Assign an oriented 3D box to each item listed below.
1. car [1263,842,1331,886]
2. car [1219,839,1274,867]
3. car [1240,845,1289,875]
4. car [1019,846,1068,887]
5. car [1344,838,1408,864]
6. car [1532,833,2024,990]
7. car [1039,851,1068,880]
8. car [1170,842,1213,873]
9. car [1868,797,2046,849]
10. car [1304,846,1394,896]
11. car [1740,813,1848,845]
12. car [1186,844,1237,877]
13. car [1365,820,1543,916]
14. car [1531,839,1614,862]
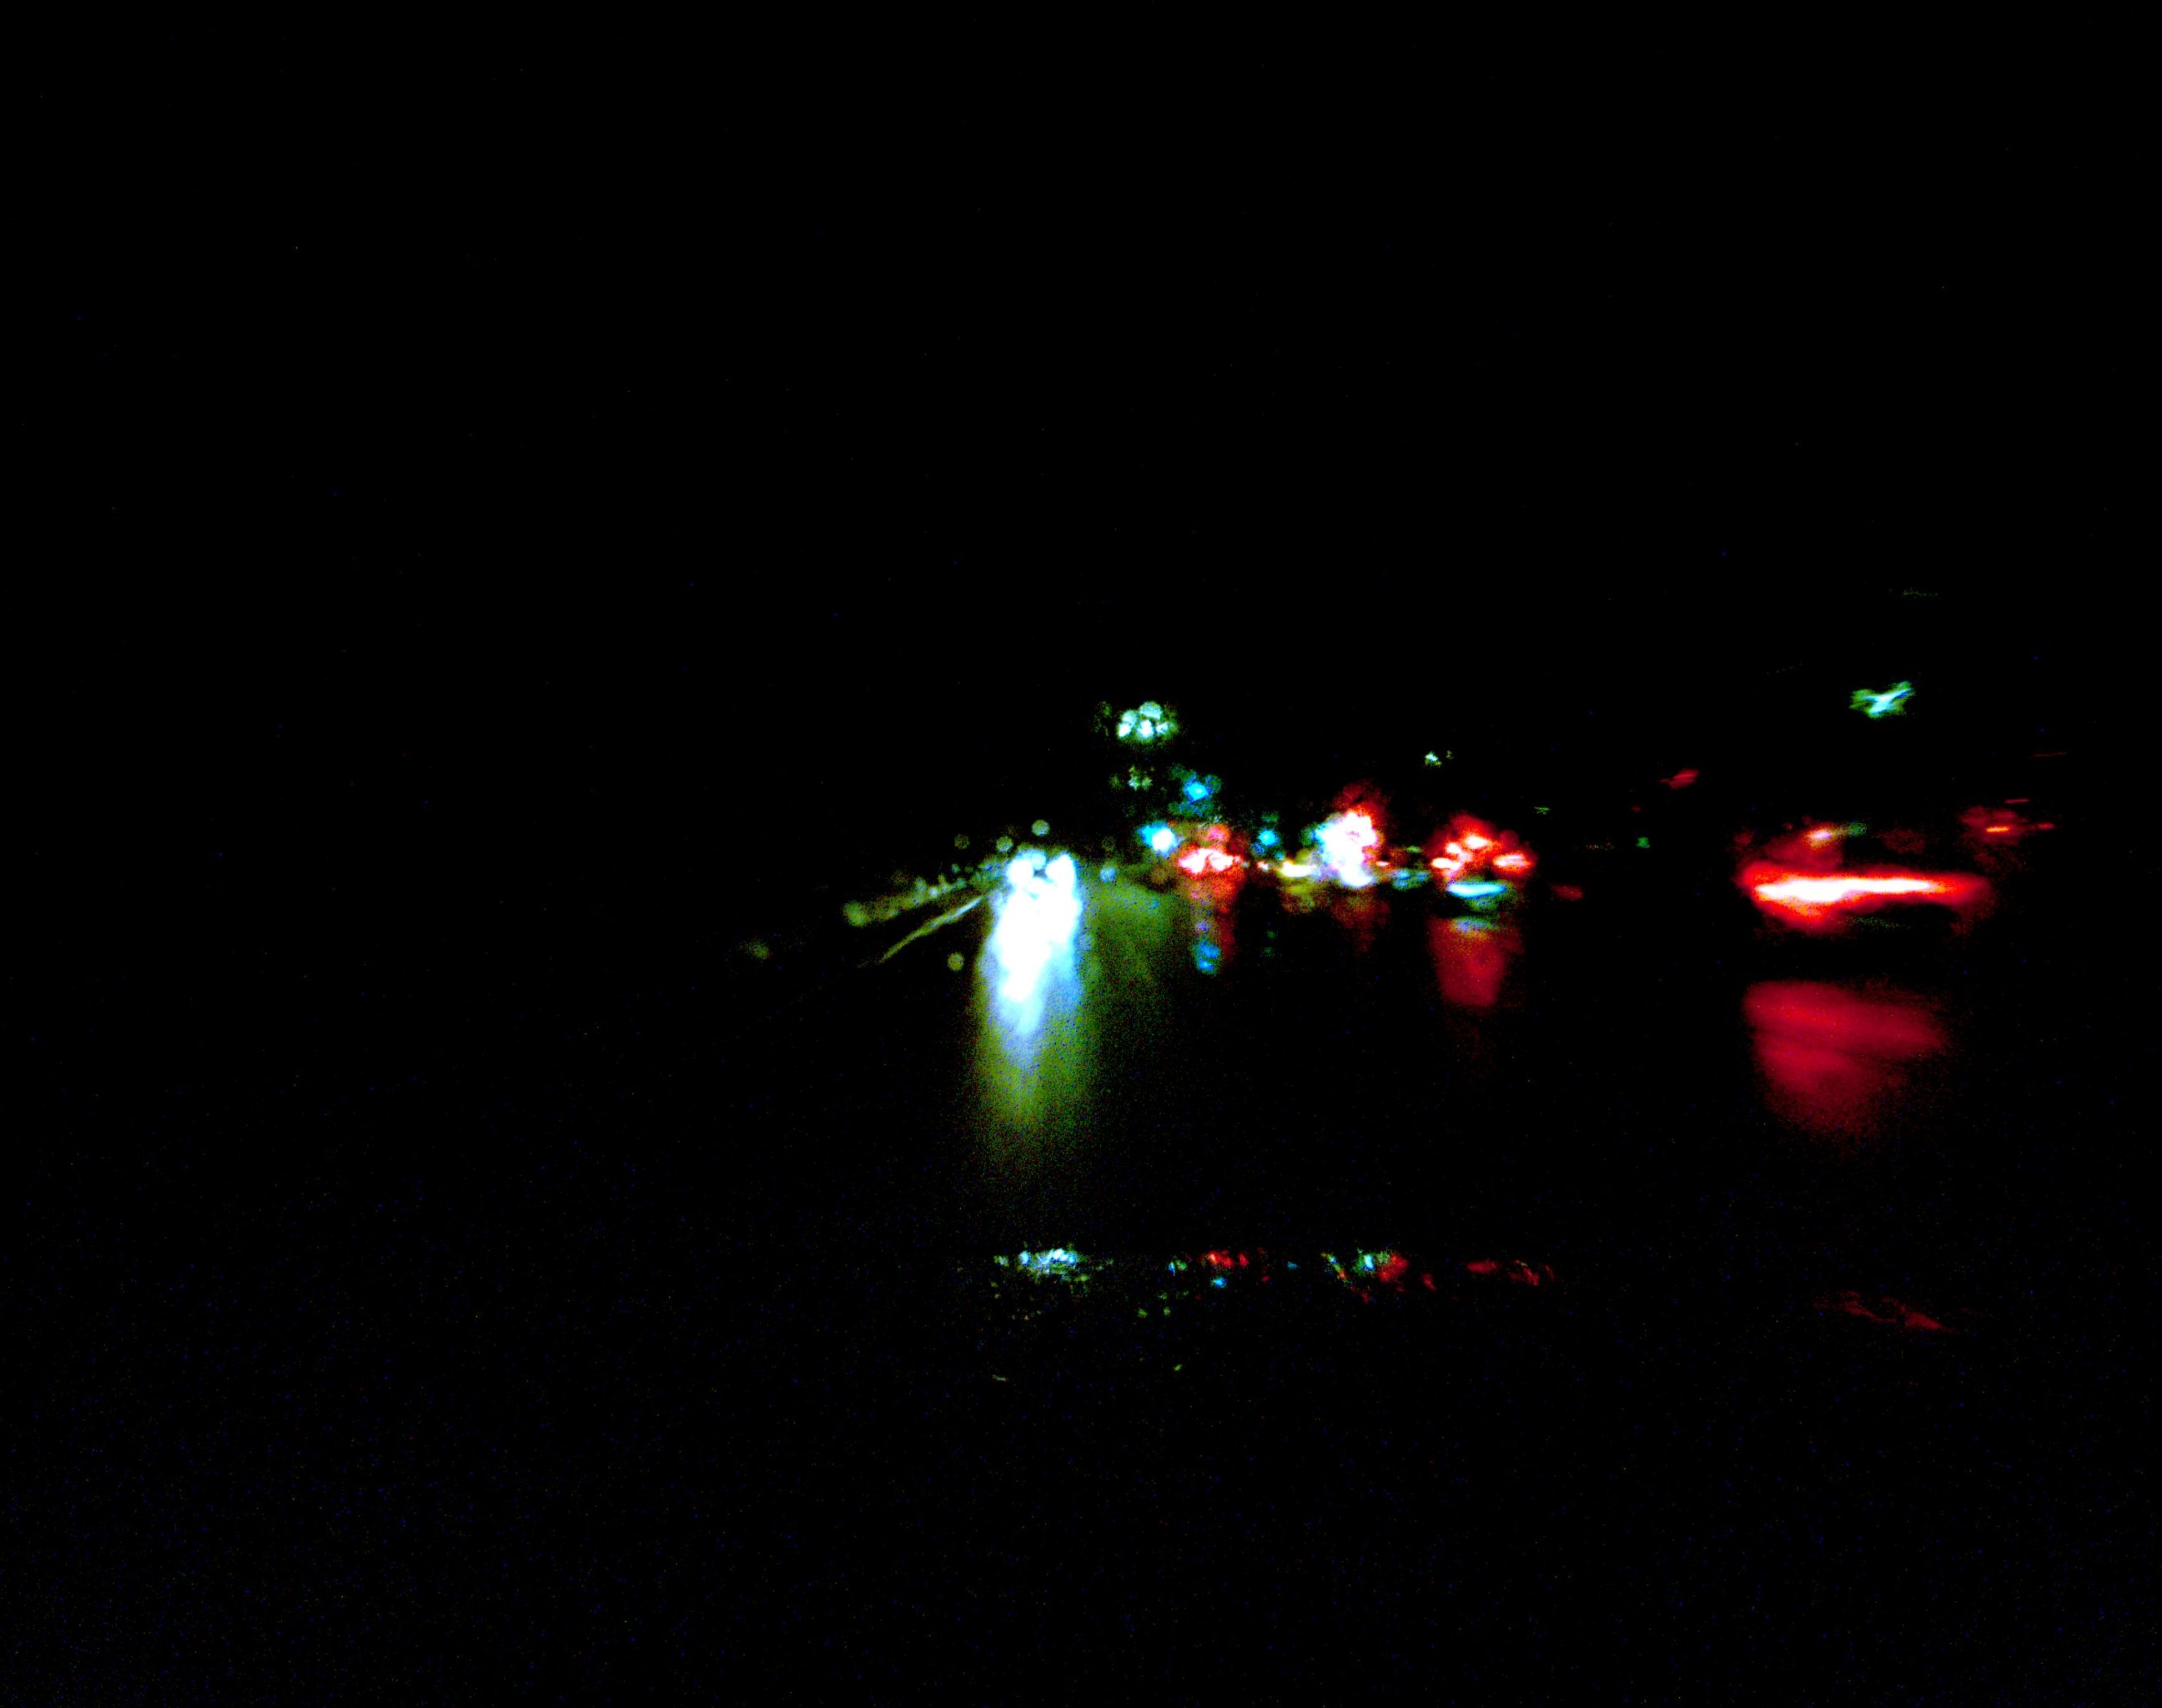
[{"bbox_3d":[9.574,0.391,34.048,1.998,1.736,4.499,-2,1,4],"label":"car"},{"bbox_3d":[10.227,-0.059,47.285,2.364,1.547,5.159,-2,1,1],"label":"car"},{"bbox_3d":[9.758,0.281,40.621,1.827,1.444,3.601,-3,1,2],"label":"car"},{"bbox_3d":[-1.618,0.485,34.166,1.878,1.579,4.887,-3,1,0],"label":"car"},{"bbox_3d":[22.755,-0.223,58.755,4.514,1.833,2.003,-1,0,19],"label":"car"},{"bbox_3d":[8.620,0.575,10.338,2.186,1.549,5.205,-2,0,4],"label":"car"},{"bbox_3d":[-1.855,0.784,52.909,1.794,1.802,4.197,-3,1,0],"label":"car"},{"bbox_3d":[6.782,0.146,47.094,1.998,1.688,5.011,-2,1,1],"label":"car"},{"bbox_3d":[42.474,-1.428,37.153,1.998,2.294,6.022,-2,1,3],"label":"car"},{"bbox_3d":[9.049,0.518,25.991,1.970,1.520,3.688,-2,1,4],"label":"car"},{"bbox_3d":[42.176,-1.424,45.102,1.852,1.683,4.444,-2,1,-10],"label":"car"},{"bbox_3d":[6.936,0.322,40.868,1.961,1.562,4.466,-2,1,1],"label":"car"},{"bbox_3d":[9.051,0.287,19.032,2.159,2.002,4.996,-2,1,3],"label":"car"},{"bbox_3d":[33.301,-0.220,51.558,4.492,1.357,1.669,-2,2,40],"label":"car"}]
